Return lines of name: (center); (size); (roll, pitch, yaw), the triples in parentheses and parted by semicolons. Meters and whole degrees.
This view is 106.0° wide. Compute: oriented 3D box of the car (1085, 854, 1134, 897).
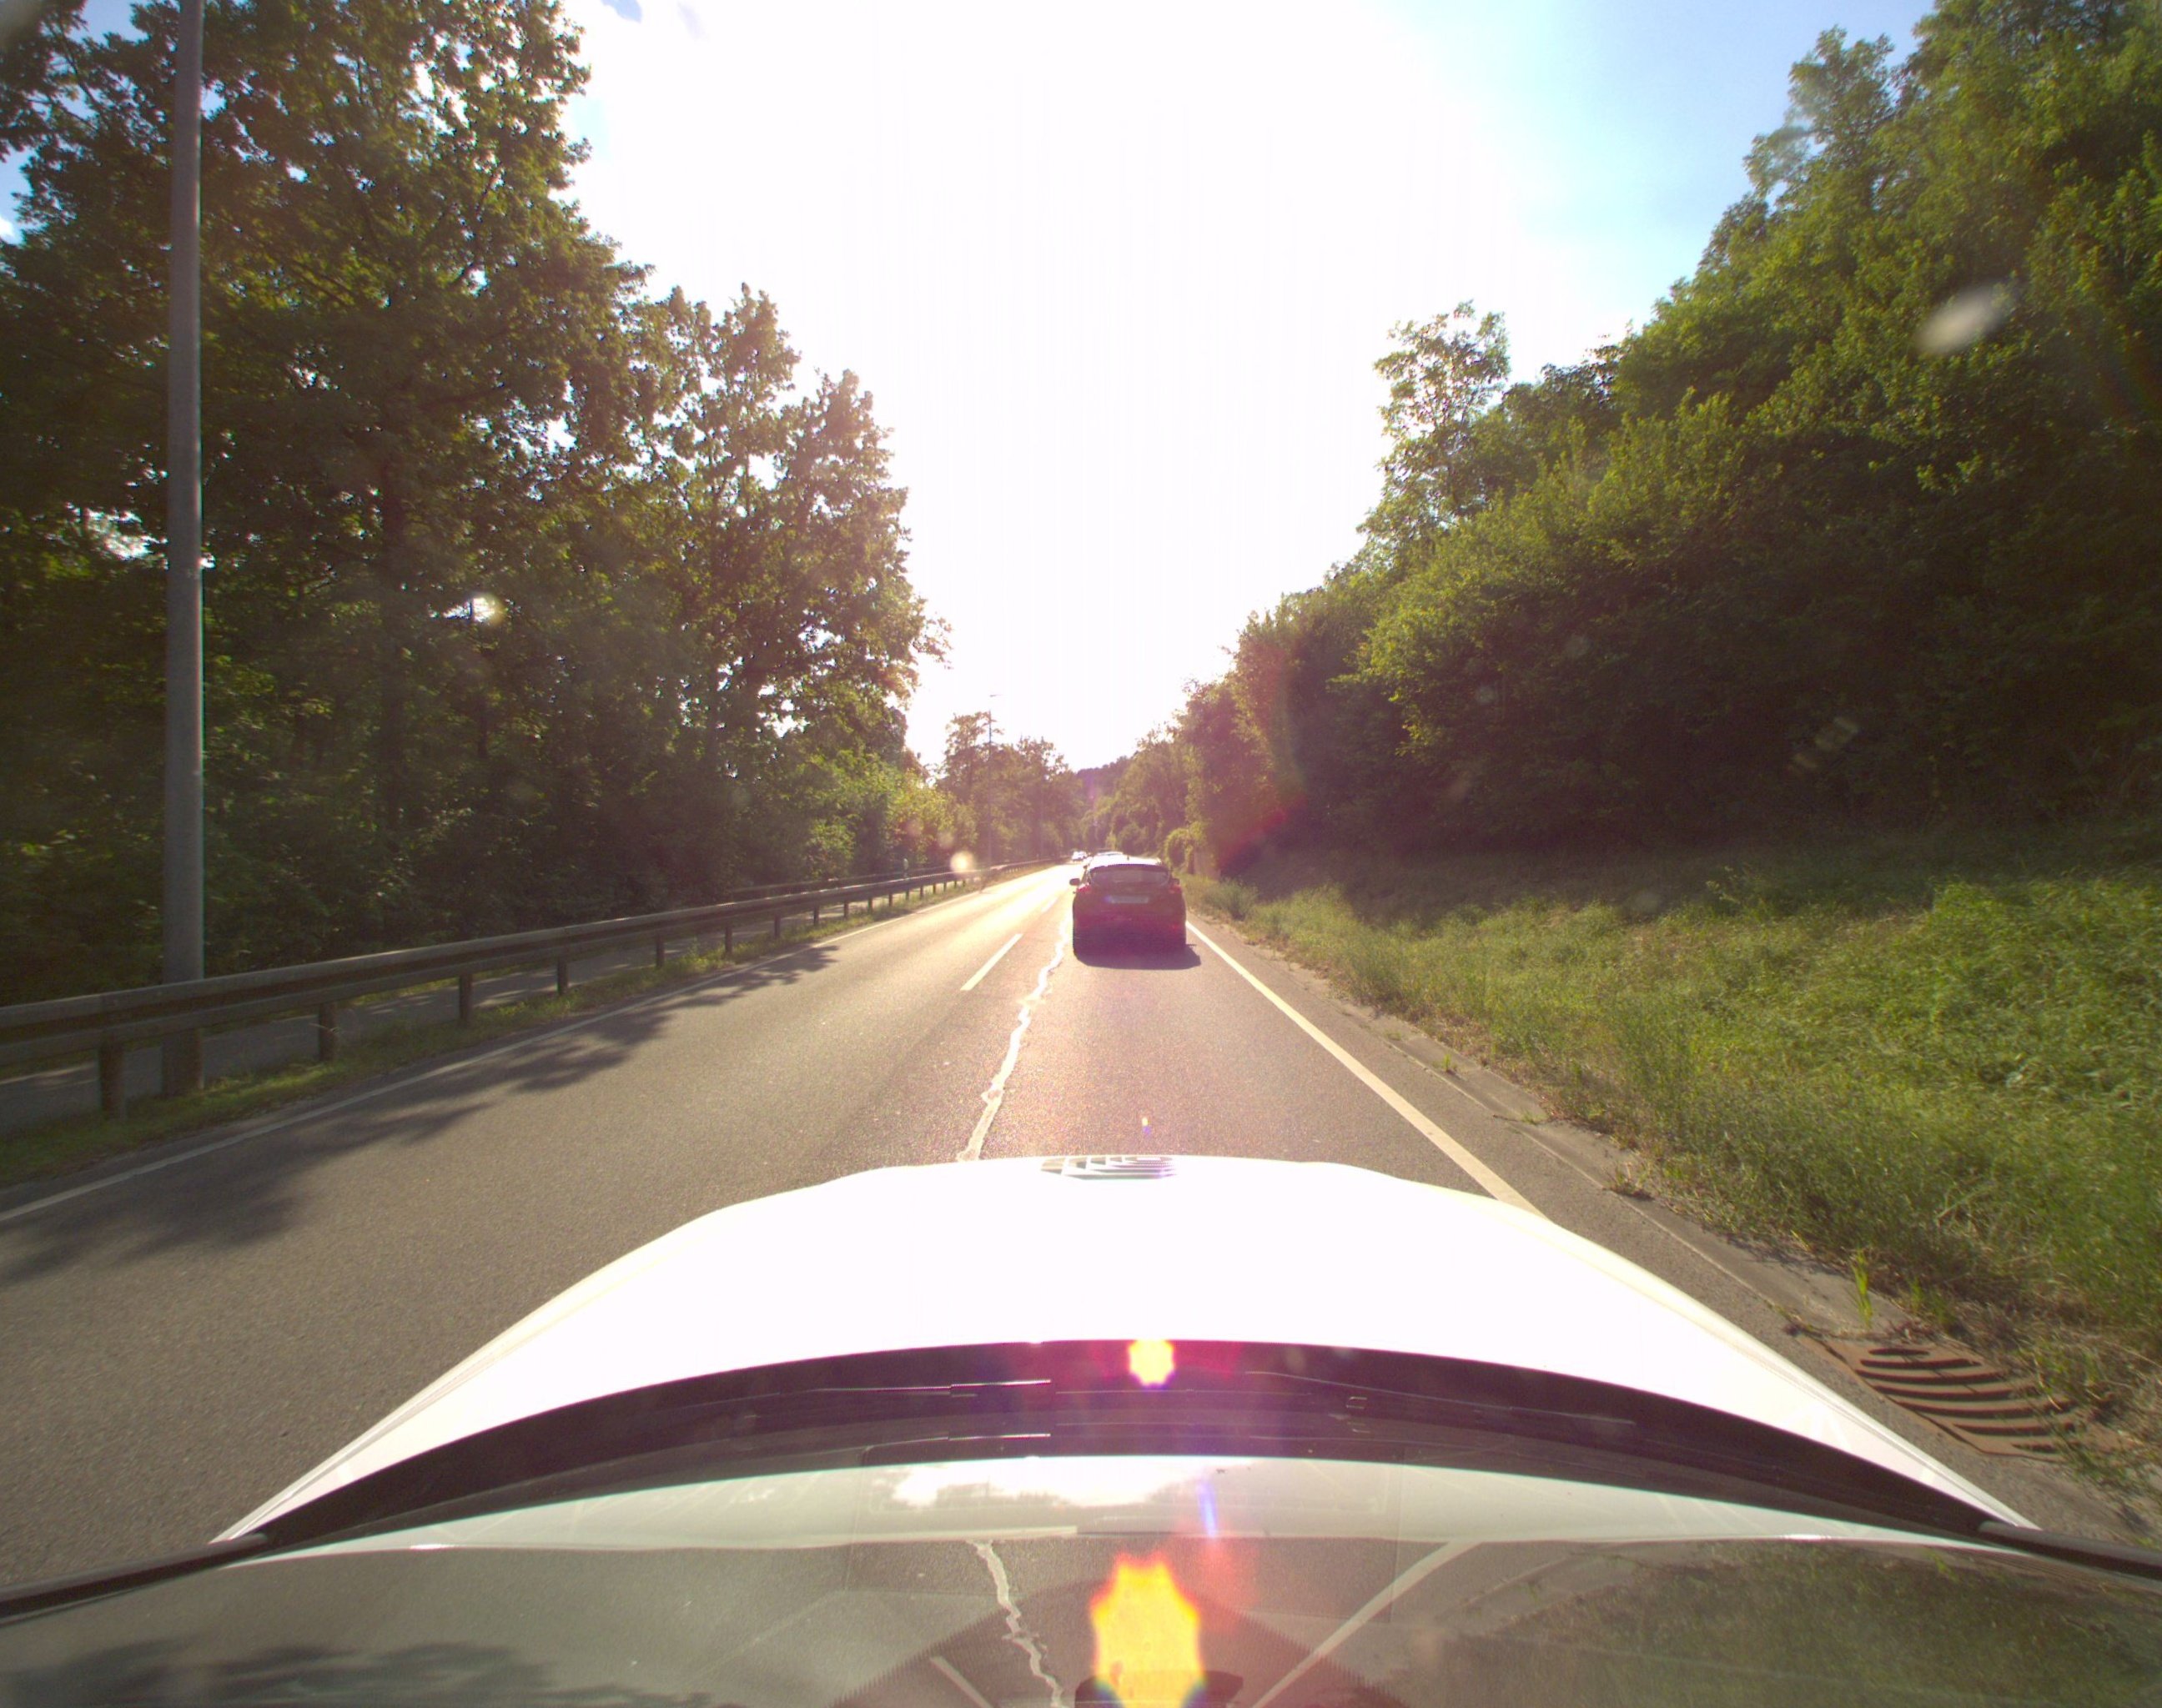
car: (1.096, 0.742, 29.772); (1.654, 1.418, 4.003); (-1, 0, 3)

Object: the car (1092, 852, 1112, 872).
car: (1.836, 0.678, 69.929); (1.624, 1.596, 4.002); (-1, 0, 2)

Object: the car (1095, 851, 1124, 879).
car: (1.726, 0.635, 49.568); (1.624, 1.596, 4.002); (-1, 0, 2)

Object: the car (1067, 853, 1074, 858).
car: (-3.296, 0.478, 260.983); (1.991, 1.519, 3.992); (-1, 0, -6)

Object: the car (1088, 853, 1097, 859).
car: (3.133, 0.586, 223.869); (1.991, 1.519, 3.992); (-1, 0, -6)

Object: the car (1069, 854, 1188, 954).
car: (0.764, 0.744, 13.980); (1.733, 1.456, 4.002); (-1, 0, 2)

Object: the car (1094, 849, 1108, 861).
car: (3.017, 0.104, 122.200); (1.858, 1.780, 3.997); (-1, 0, -2)

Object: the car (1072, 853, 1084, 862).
car: (-0.458, 0.580, 128.516); (1.617, 1.377, 4.048); (-2, 0, 1)

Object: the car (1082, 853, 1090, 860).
car: (1.041, 0.542, 168.787); (1.675, 1.463, 4.199); (-1, 0, 1)

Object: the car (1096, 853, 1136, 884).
car: (1.681, 0.681, 39.623); (1.798, 1.391, 4.002); (-1, 0, 2)
